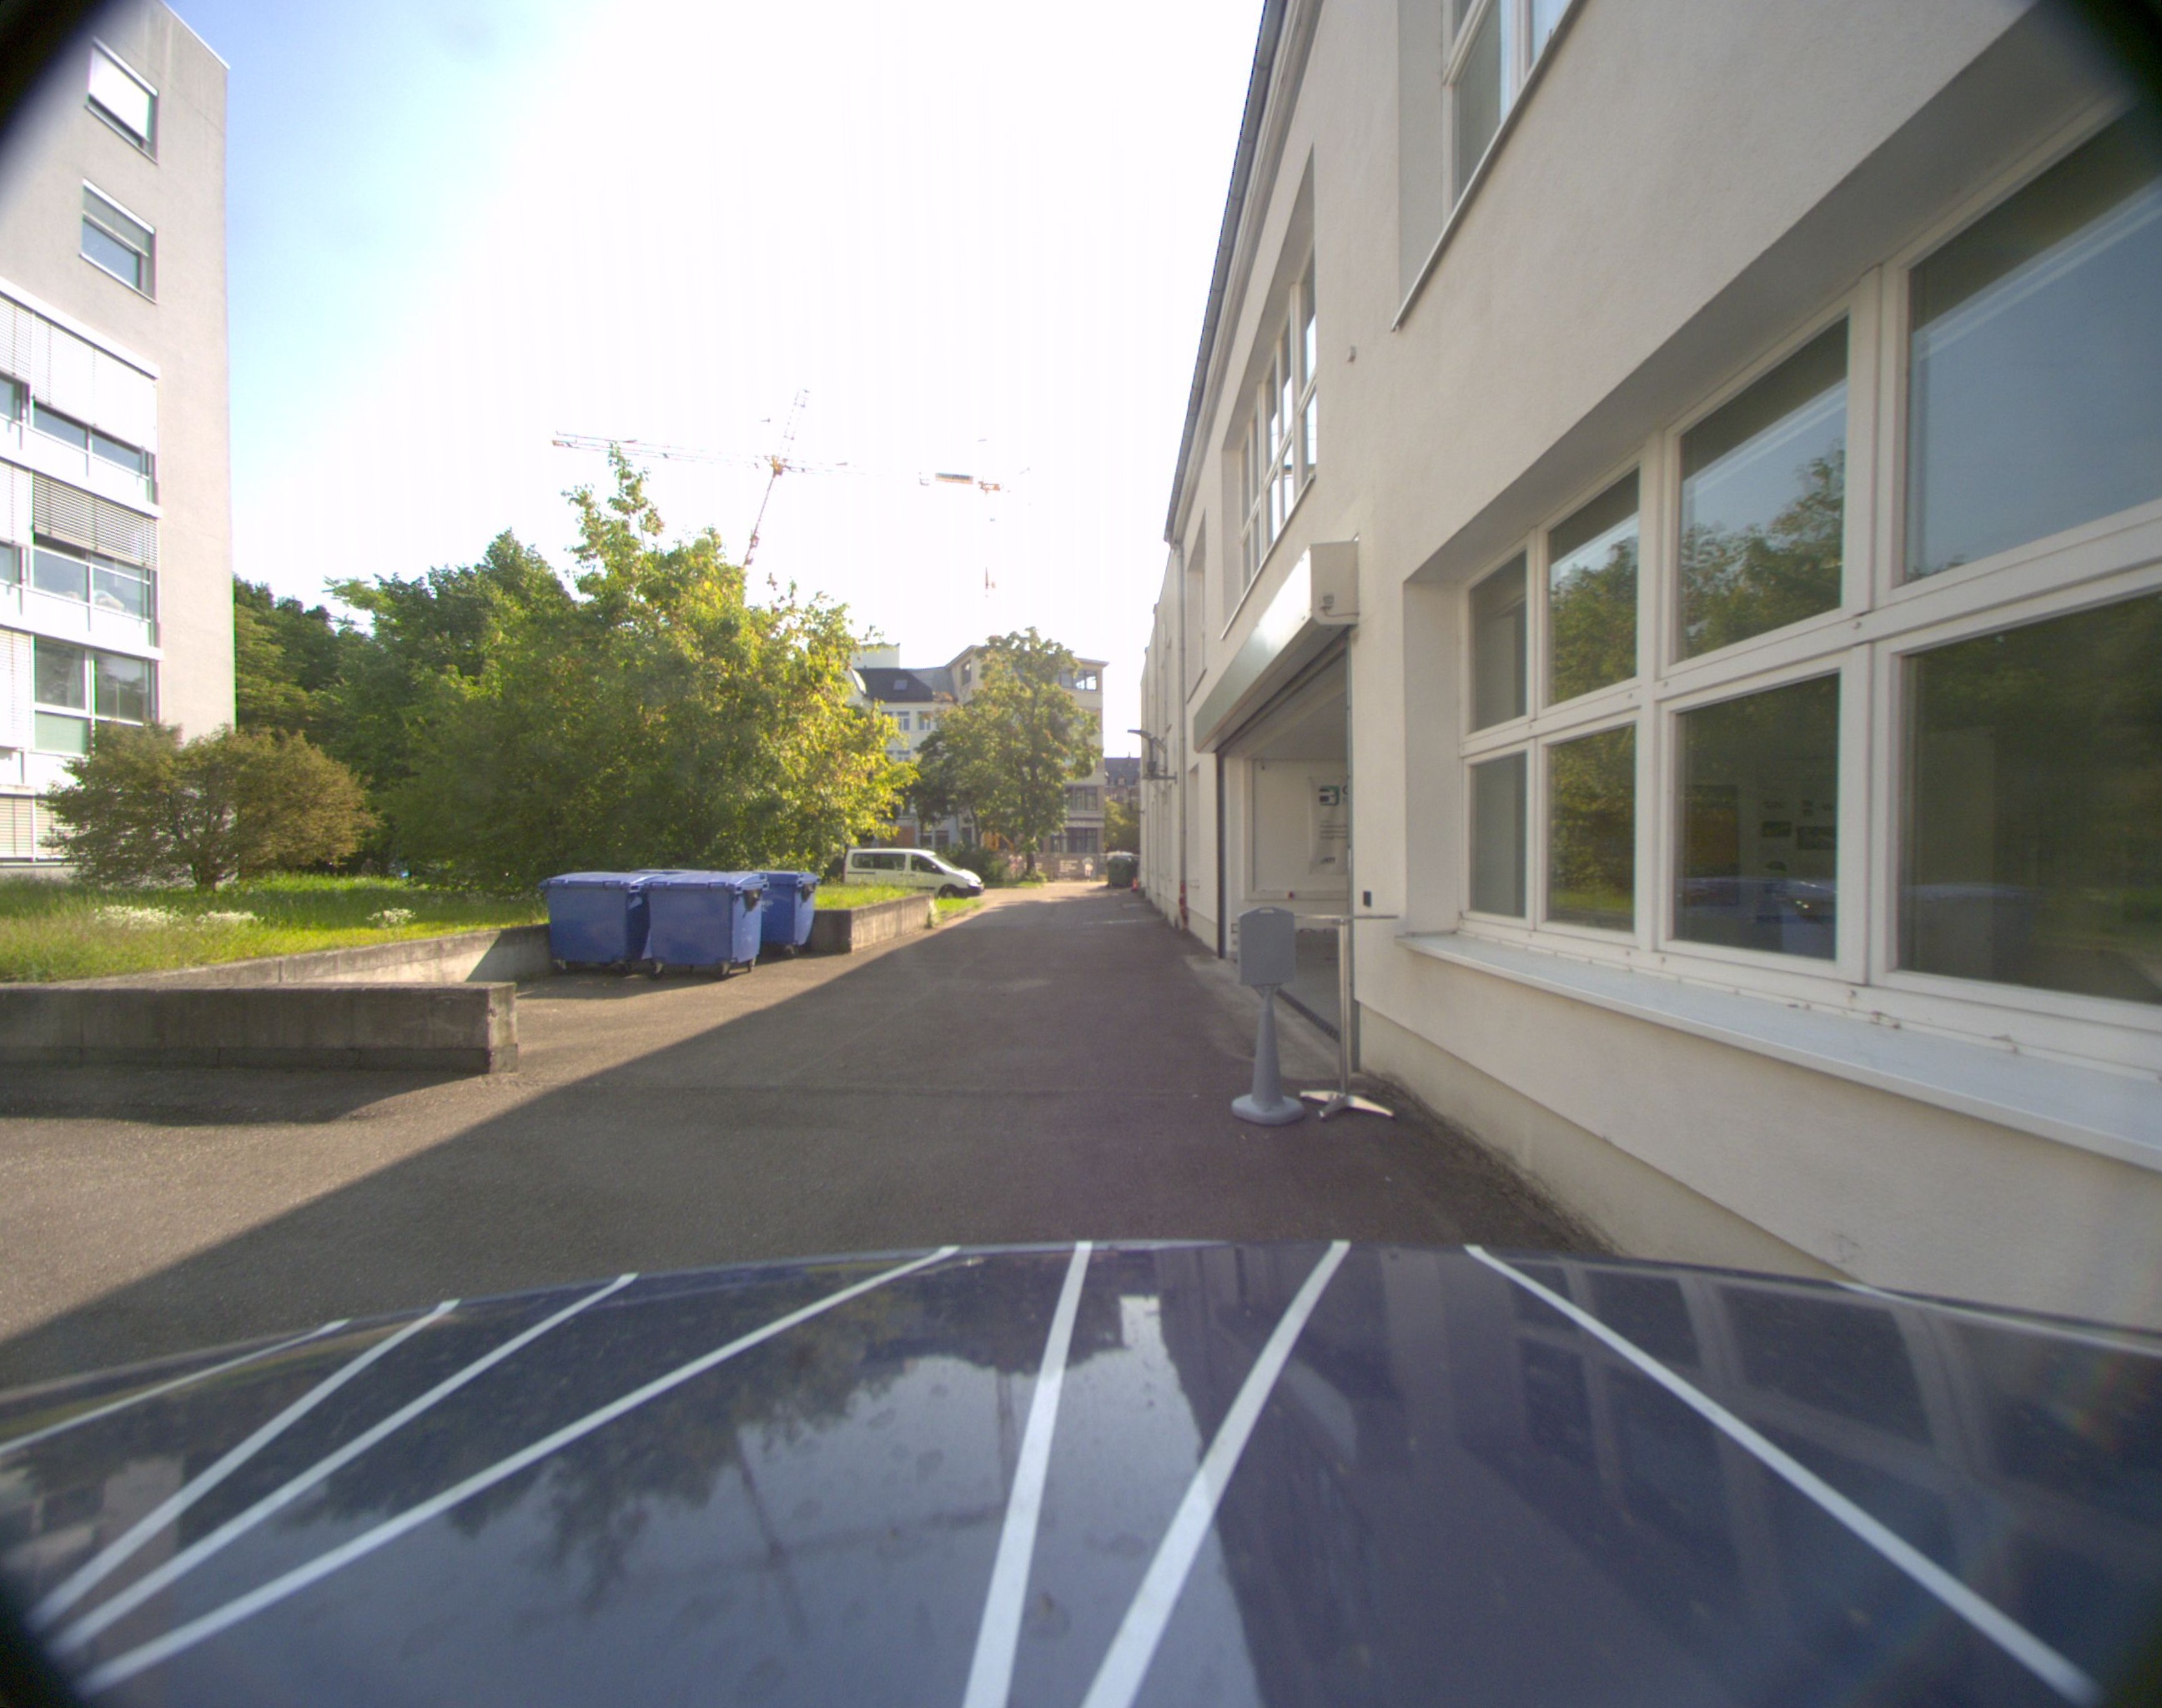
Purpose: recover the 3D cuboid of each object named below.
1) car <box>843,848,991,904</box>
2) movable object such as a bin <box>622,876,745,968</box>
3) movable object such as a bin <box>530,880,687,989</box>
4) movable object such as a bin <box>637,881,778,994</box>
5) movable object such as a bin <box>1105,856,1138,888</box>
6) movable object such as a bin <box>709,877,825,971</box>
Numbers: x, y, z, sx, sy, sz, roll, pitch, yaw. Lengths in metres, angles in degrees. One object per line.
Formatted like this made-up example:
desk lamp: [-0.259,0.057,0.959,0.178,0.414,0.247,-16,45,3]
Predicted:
car: [-5.775,0.747,27.101,4.788,1.920,1.909,0,0,4]
movable object such as a bin: [-6.110,1.017,11.775,1.199,1.320,1.275,0,0,3]
movable object such as a bin: [-6.240,1.029,10.135,1.257,1.320,1.275,0,0,3]
movable object such as a bin: [-4.870,1.054,10.035,1.213,1.343,1.275,0,0,0]
movable object such as a bin: [1.948,0.851,36.333,1.524,1.457,1.275,0,0,3]
movable object such as a bin: [-4.753,1.026,11.610,1.199,1.320,1.275,0,0,3]
